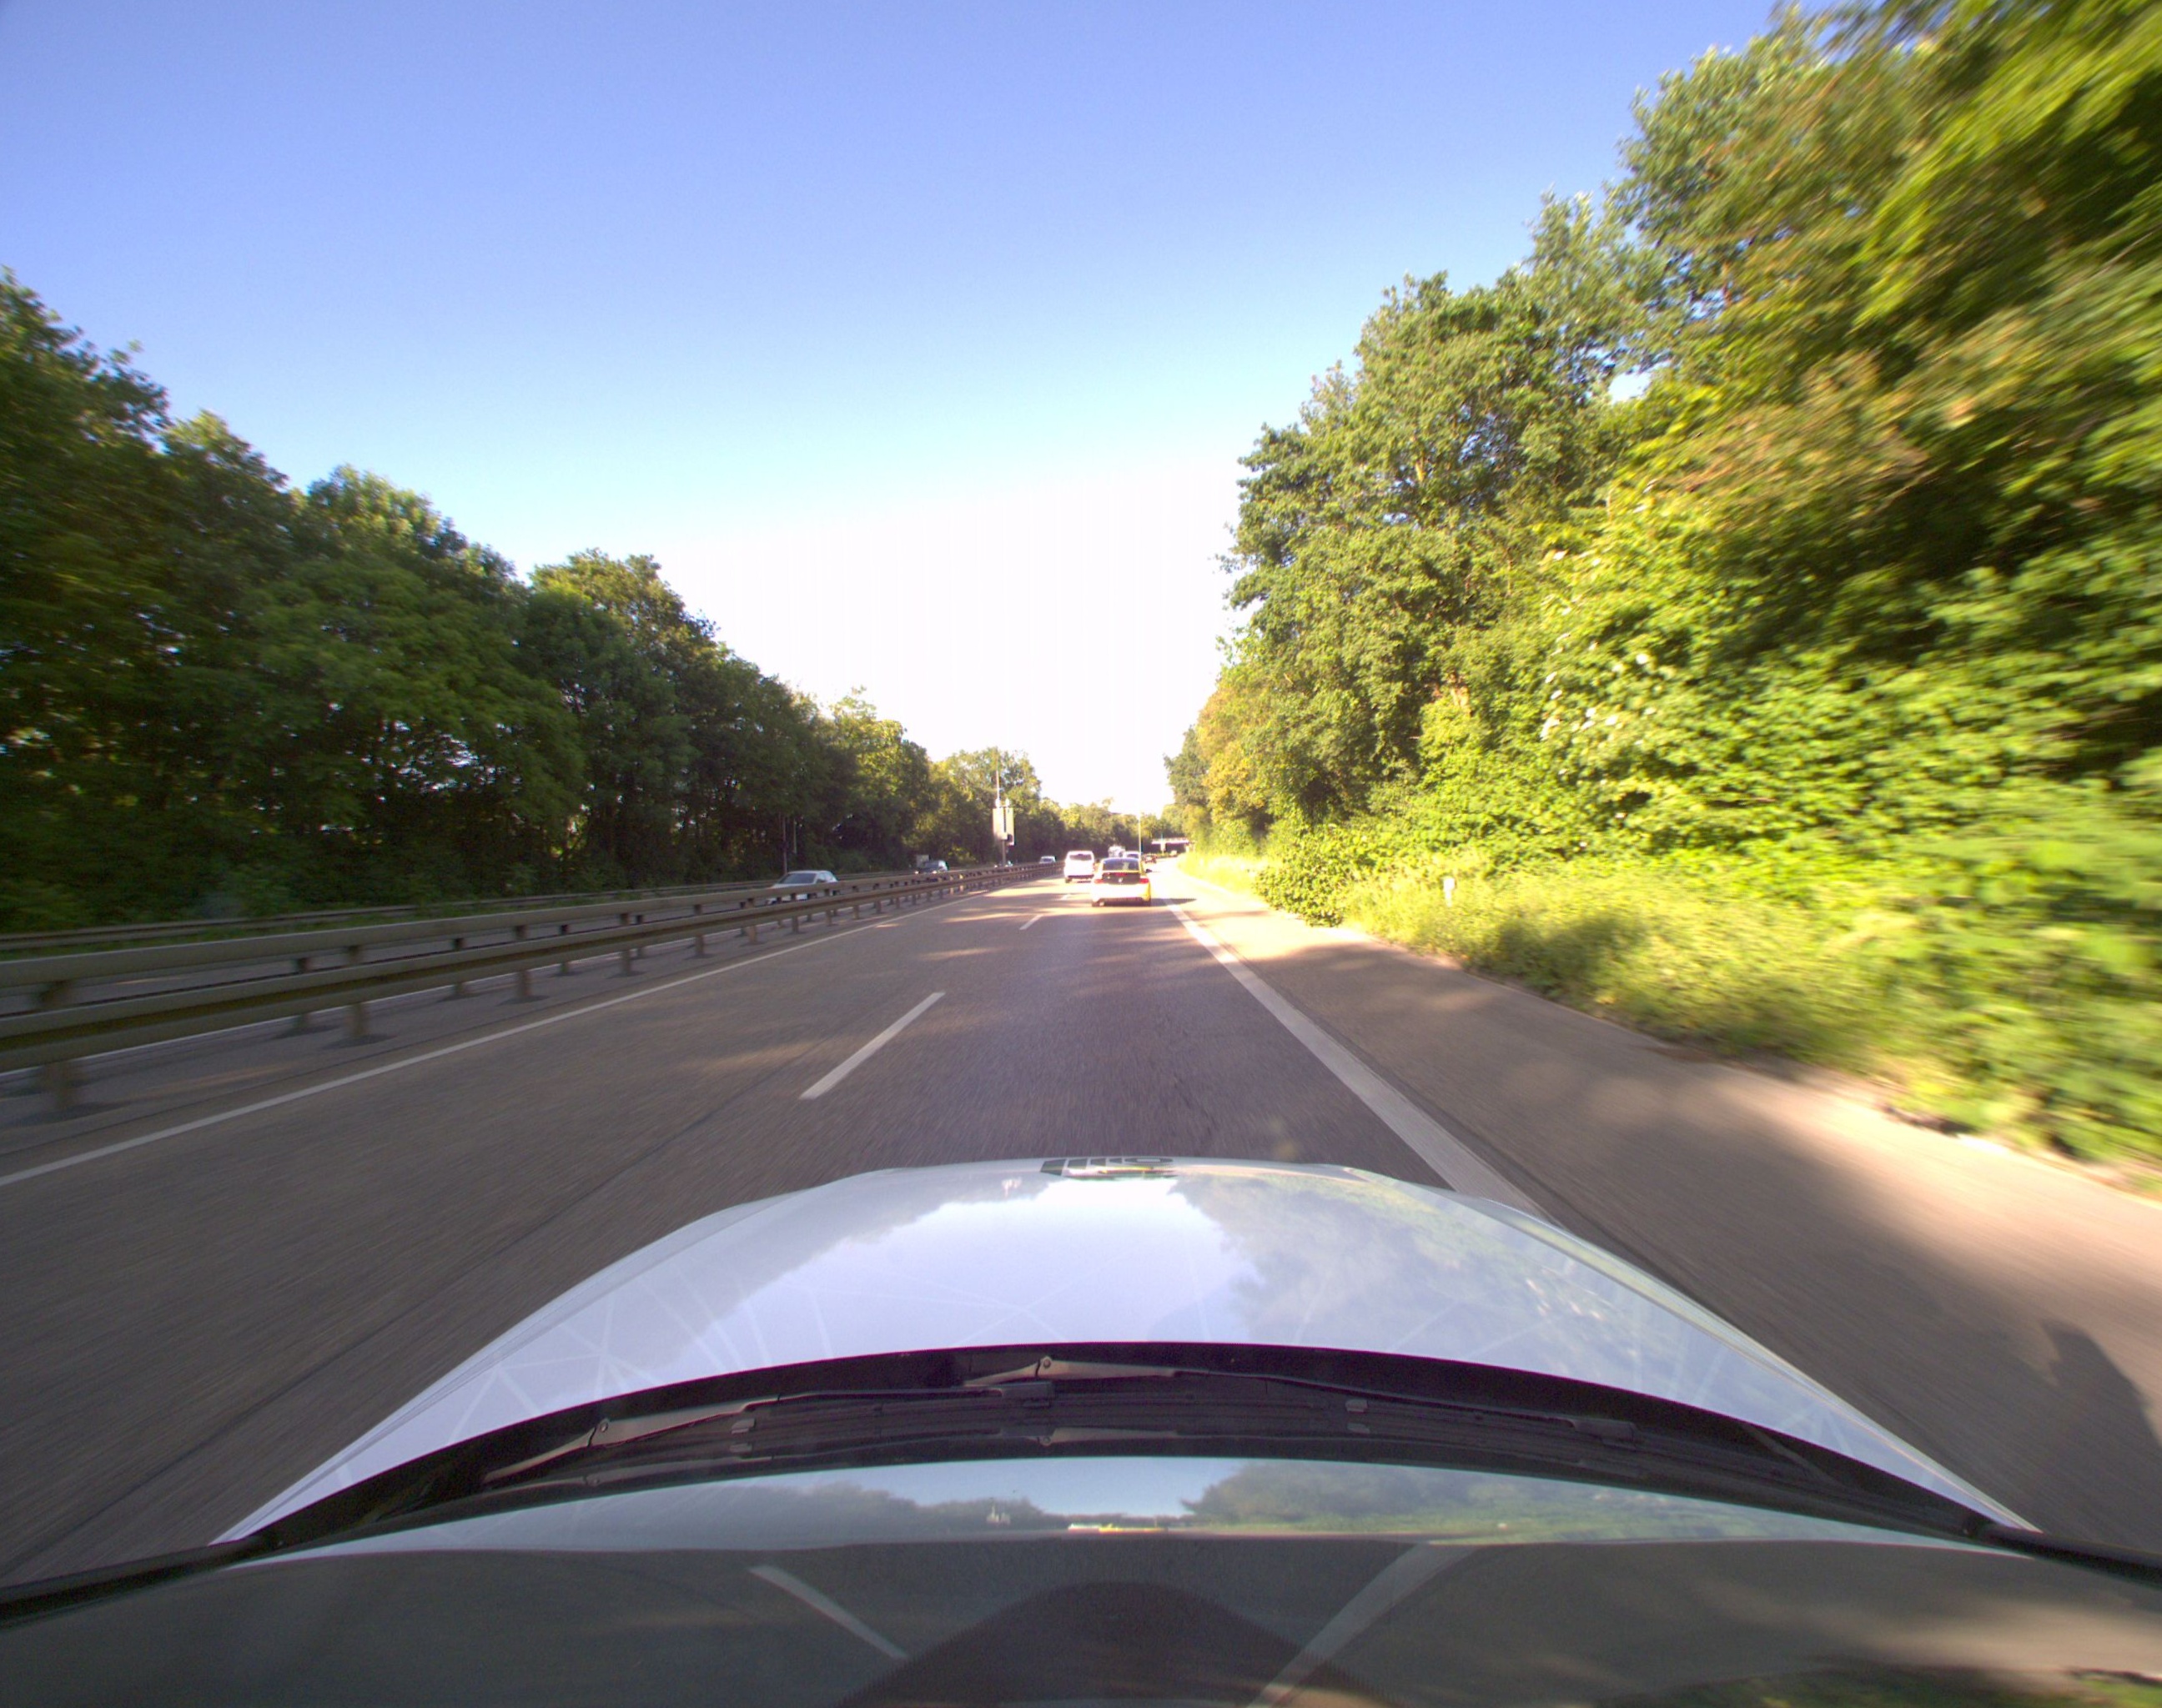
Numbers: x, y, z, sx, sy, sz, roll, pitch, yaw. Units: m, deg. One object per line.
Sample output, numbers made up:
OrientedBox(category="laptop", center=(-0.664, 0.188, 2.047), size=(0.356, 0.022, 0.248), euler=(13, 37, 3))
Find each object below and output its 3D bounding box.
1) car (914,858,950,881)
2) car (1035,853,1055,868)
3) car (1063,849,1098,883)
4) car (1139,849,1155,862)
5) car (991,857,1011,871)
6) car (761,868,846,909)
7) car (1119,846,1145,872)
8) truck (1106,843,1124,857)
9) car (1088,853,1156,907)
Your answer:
OrientedBox(category="car", center=(-11.951, 1.195, 65.483), size=(1.590, 1.638, 4.681), euler=(-4, 0, 4))
OrientedBox(category="car", center=(-4.686, 0.784, 107.656), size=(1.984, 1.788, 5.034), euler=(-4, 0, 4))
OrientedBox(category="car", center=(0.013, 0.644, 46.645), size=(1.734, 1.830, 3.425), euler=(-1, 0, 3))
OrientedBox(category="car", center=(10.757, 0.237, 131.910), size=(2.252, 1.875, 5.085), euler=(-4, 0, 6))
OrientedBox(category="car", center=(-9.376, 1.157, 95.662), size=(1.590, 1.480, 3.914), euler=(-2, 0, 4))
OrientedBox(category="car", center=(-10.556, 1.281, 31.305), size=(1.590, 1.314, 3.914), euler=(-4, 0, 4))
OrientedBox(category="car", center=(4.398, 0.395, 70.221), size=(1.985, 2.013, 4.004), euler=(-4, 0, 4))
OrientedBox(category="truck", center=(8.890, -1.111, 213.228), size=(2.870, 3.520, 11.985), euler=(-4, 0, 10))
OrientedBox(category="car", center=(1.207, 0.748, 25.177), size=(1.933, 1.508, 3.422), euler=(-1, 0, 0))
